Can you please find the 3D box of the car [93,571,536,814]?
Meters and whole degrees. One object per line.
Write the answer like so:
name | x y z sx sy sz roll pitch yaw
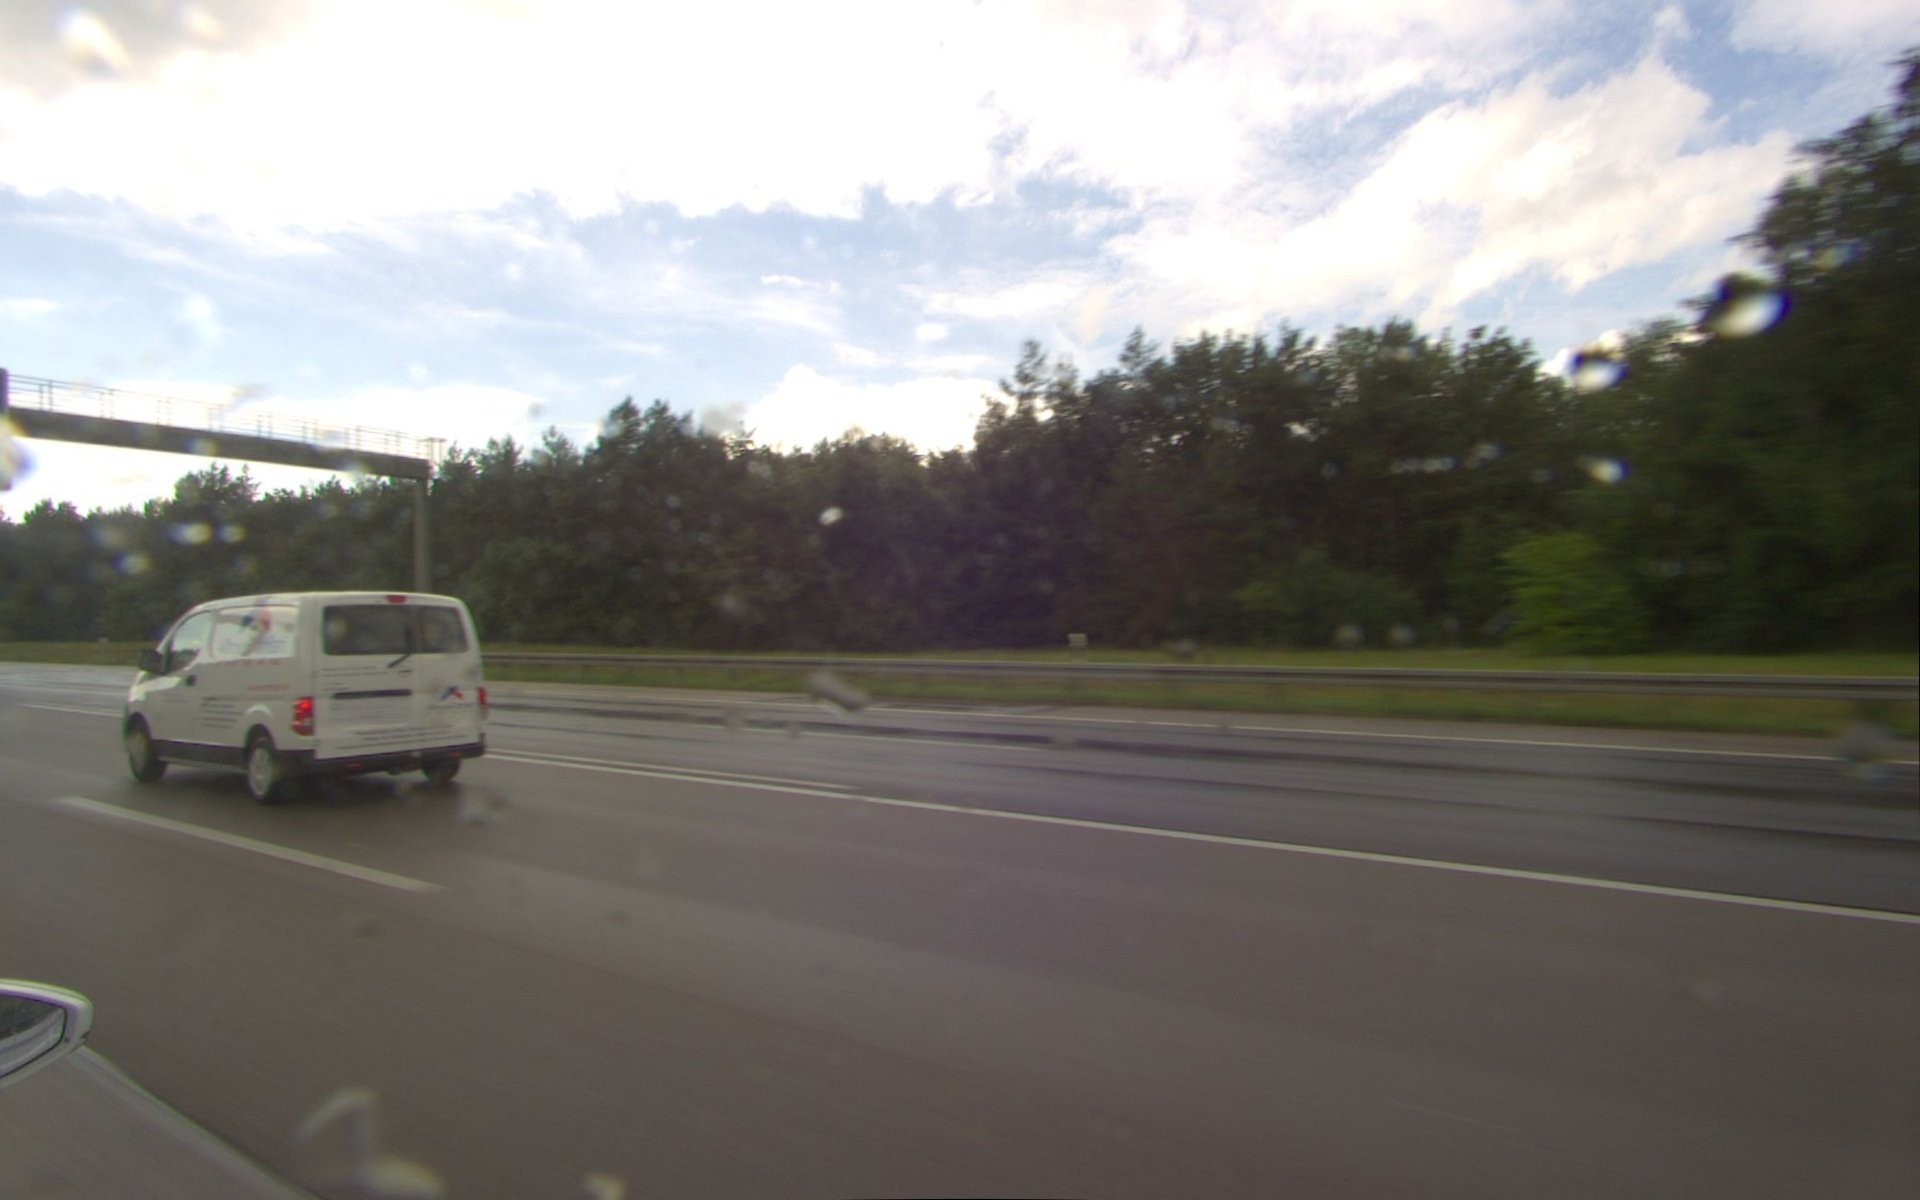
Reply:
car | -6.599 0.793 10.070 4.813 1.926 1.960 -1 -1 33
